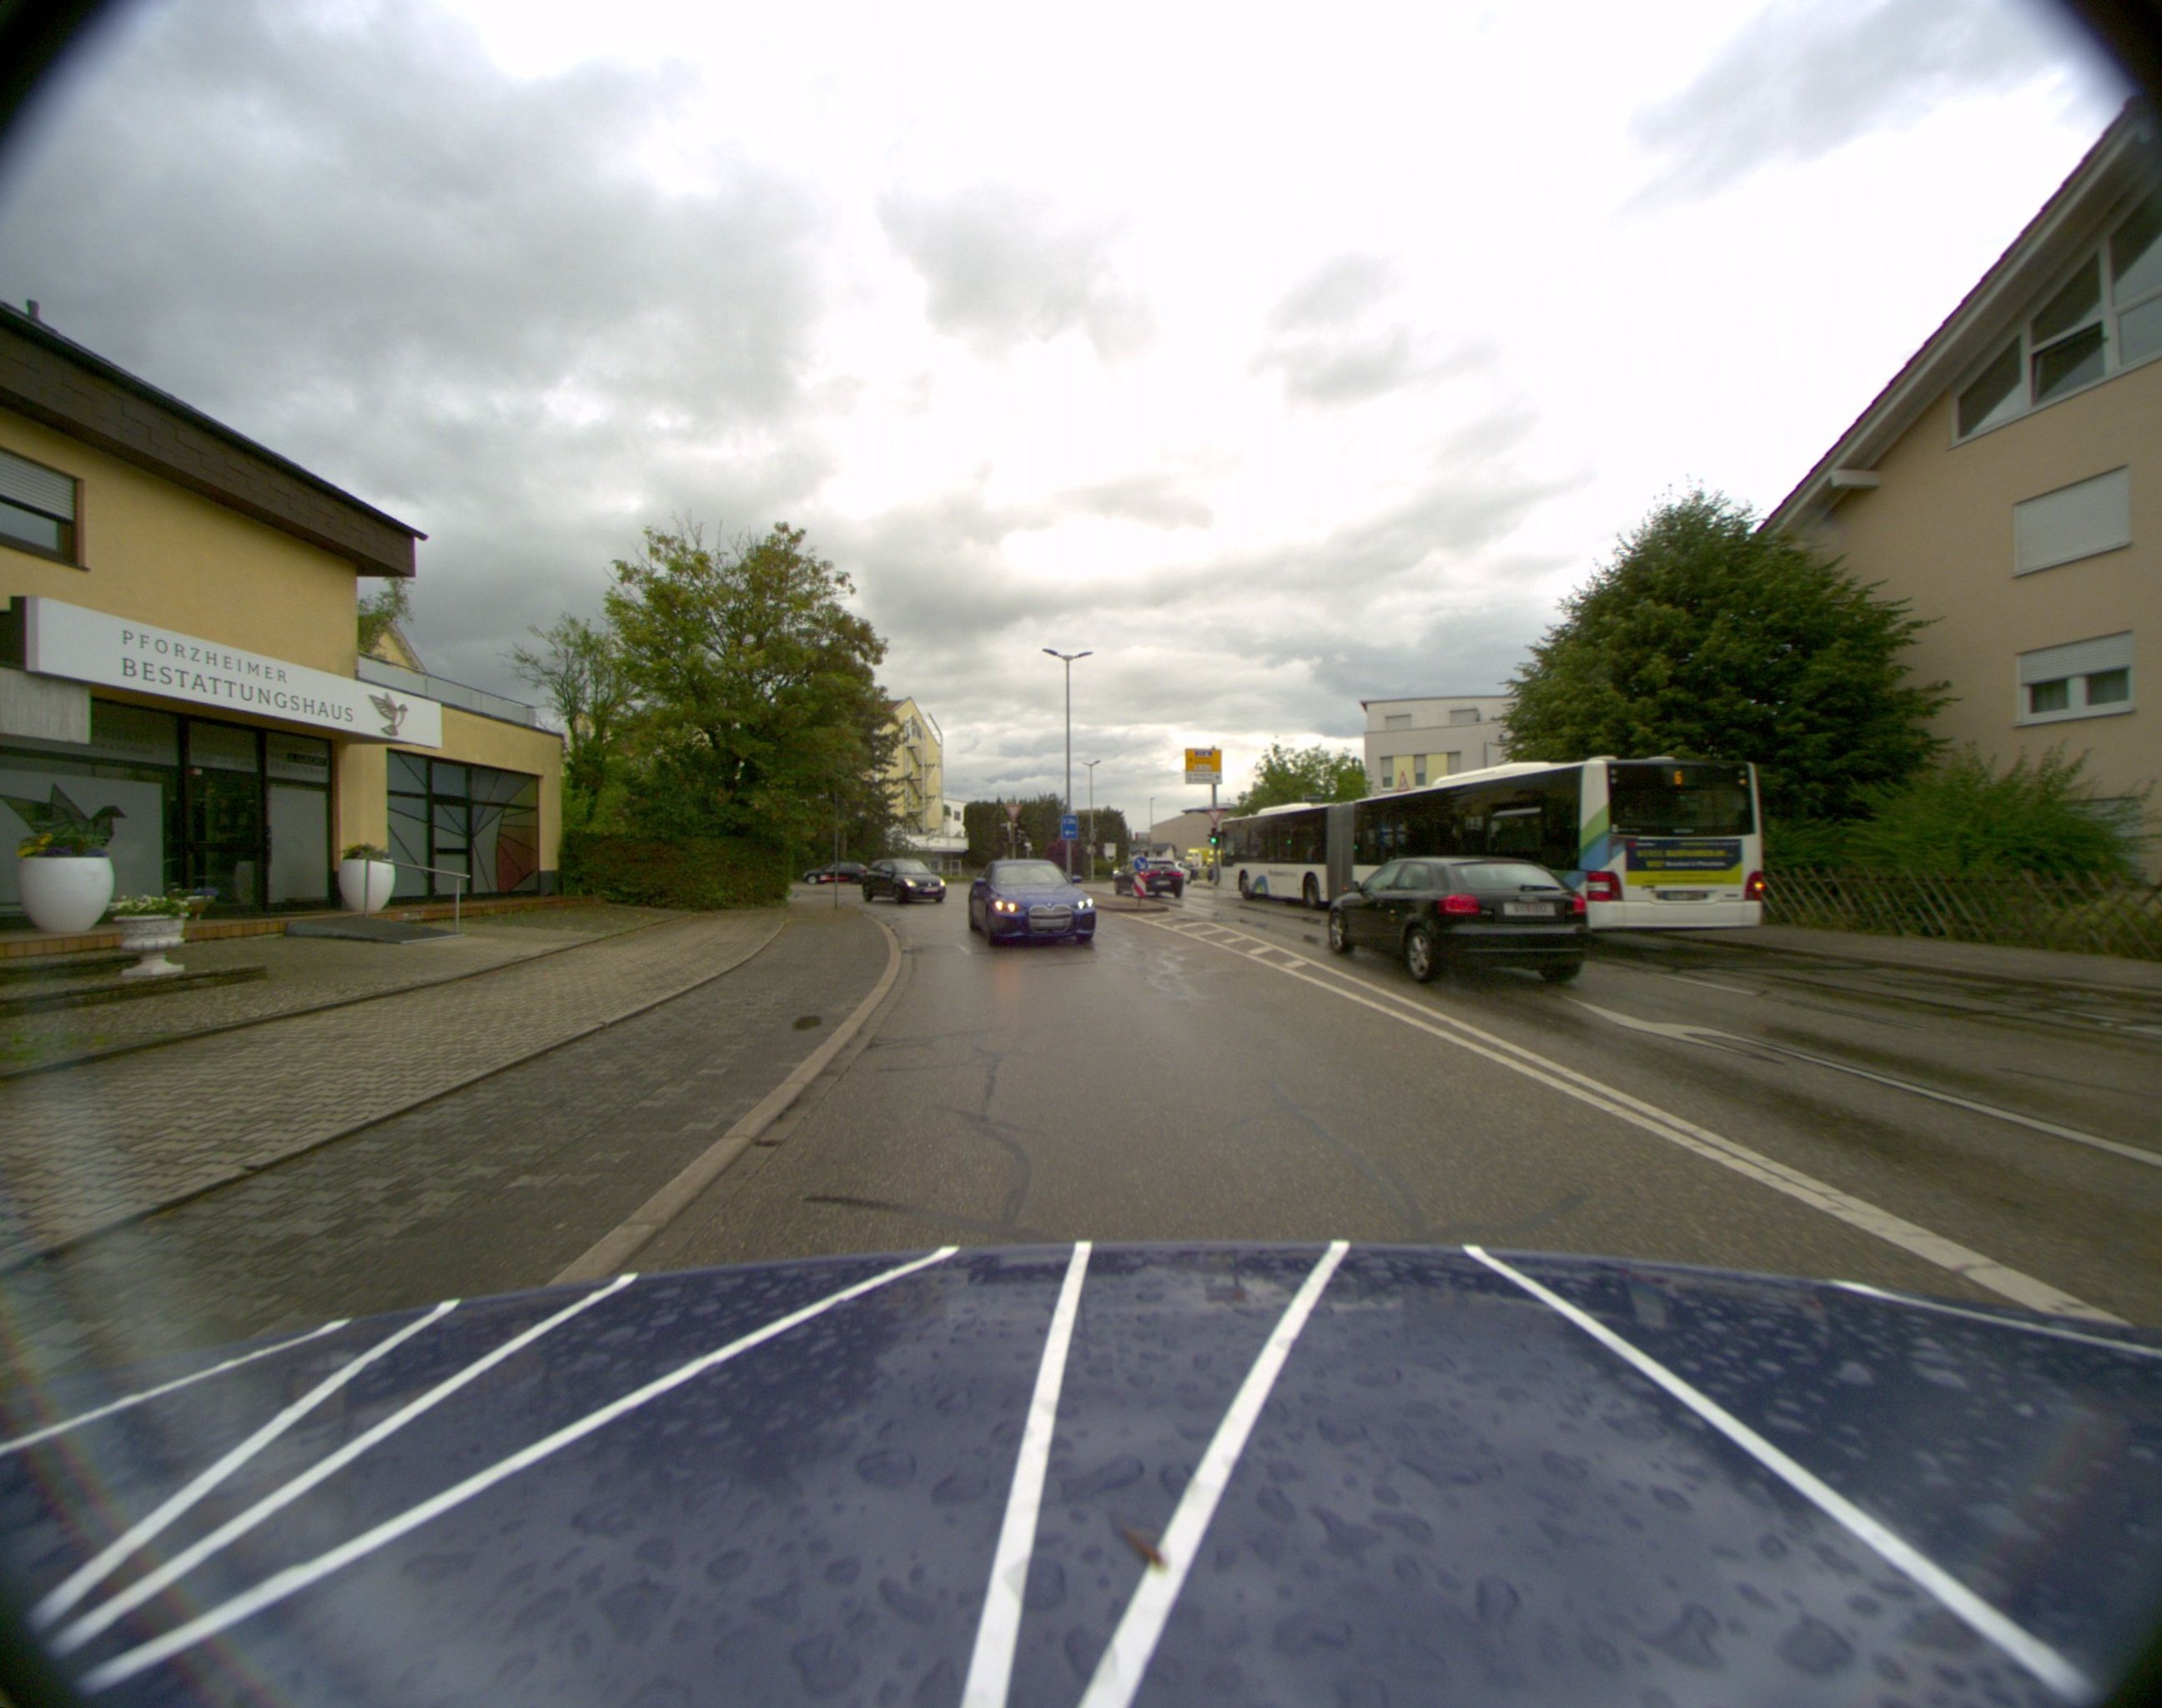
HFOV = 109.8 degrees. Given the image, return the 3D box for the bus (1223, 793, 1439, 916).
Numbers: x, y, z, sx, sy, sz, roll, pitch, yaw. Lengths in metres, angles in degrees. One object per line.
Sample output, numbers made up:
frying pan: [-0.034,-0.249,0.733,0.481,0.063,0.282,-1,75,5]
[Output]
bus: [6.970,0.024,23.079,2.555,2.982,9.198,1,0,-7]

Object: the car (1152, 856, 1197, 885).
car: [6.418,1.112,51.588,1.950,1.715,4.607,-2,1,21]

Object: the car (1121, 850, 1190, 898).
car: [2.708,0.678,28.511,1.956,1.511,4.171,0,2,-3]

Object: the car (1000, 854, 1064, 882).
car: [-2.758,0.740,42.052,1.832,1.478,3.927,-1,1,-32]

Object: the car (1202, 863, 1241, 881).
car: [12.019,1.540,64.741,1.755,1.427,4.361,0,0,31]

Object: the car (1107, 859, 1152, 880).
car: [4.156,1.295,64.781,1.994,1.630,4.008,0,1,35]

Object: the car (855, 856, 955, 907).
car: [-6.199,0.875,26.530,1.750,1.511,3.988,-4,3,-39]

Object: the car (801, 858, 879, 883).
car: [-14.739,1.016,46.681,4.201,1.400,1.822,-1,-1,-3]

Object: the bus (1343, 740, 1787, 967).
bus: [7.899,0.015,14.293,2.593,2.982,8.403,1,0,-3]

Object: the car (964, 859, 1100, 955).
car: [-1.127,0.882,14.799,1.915,1.487,4.343,-2,1,-13]

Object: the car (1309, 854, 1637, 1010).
car: [4.541,0.772,9.692,1.865,1.509,4.291,0,0,-2]
